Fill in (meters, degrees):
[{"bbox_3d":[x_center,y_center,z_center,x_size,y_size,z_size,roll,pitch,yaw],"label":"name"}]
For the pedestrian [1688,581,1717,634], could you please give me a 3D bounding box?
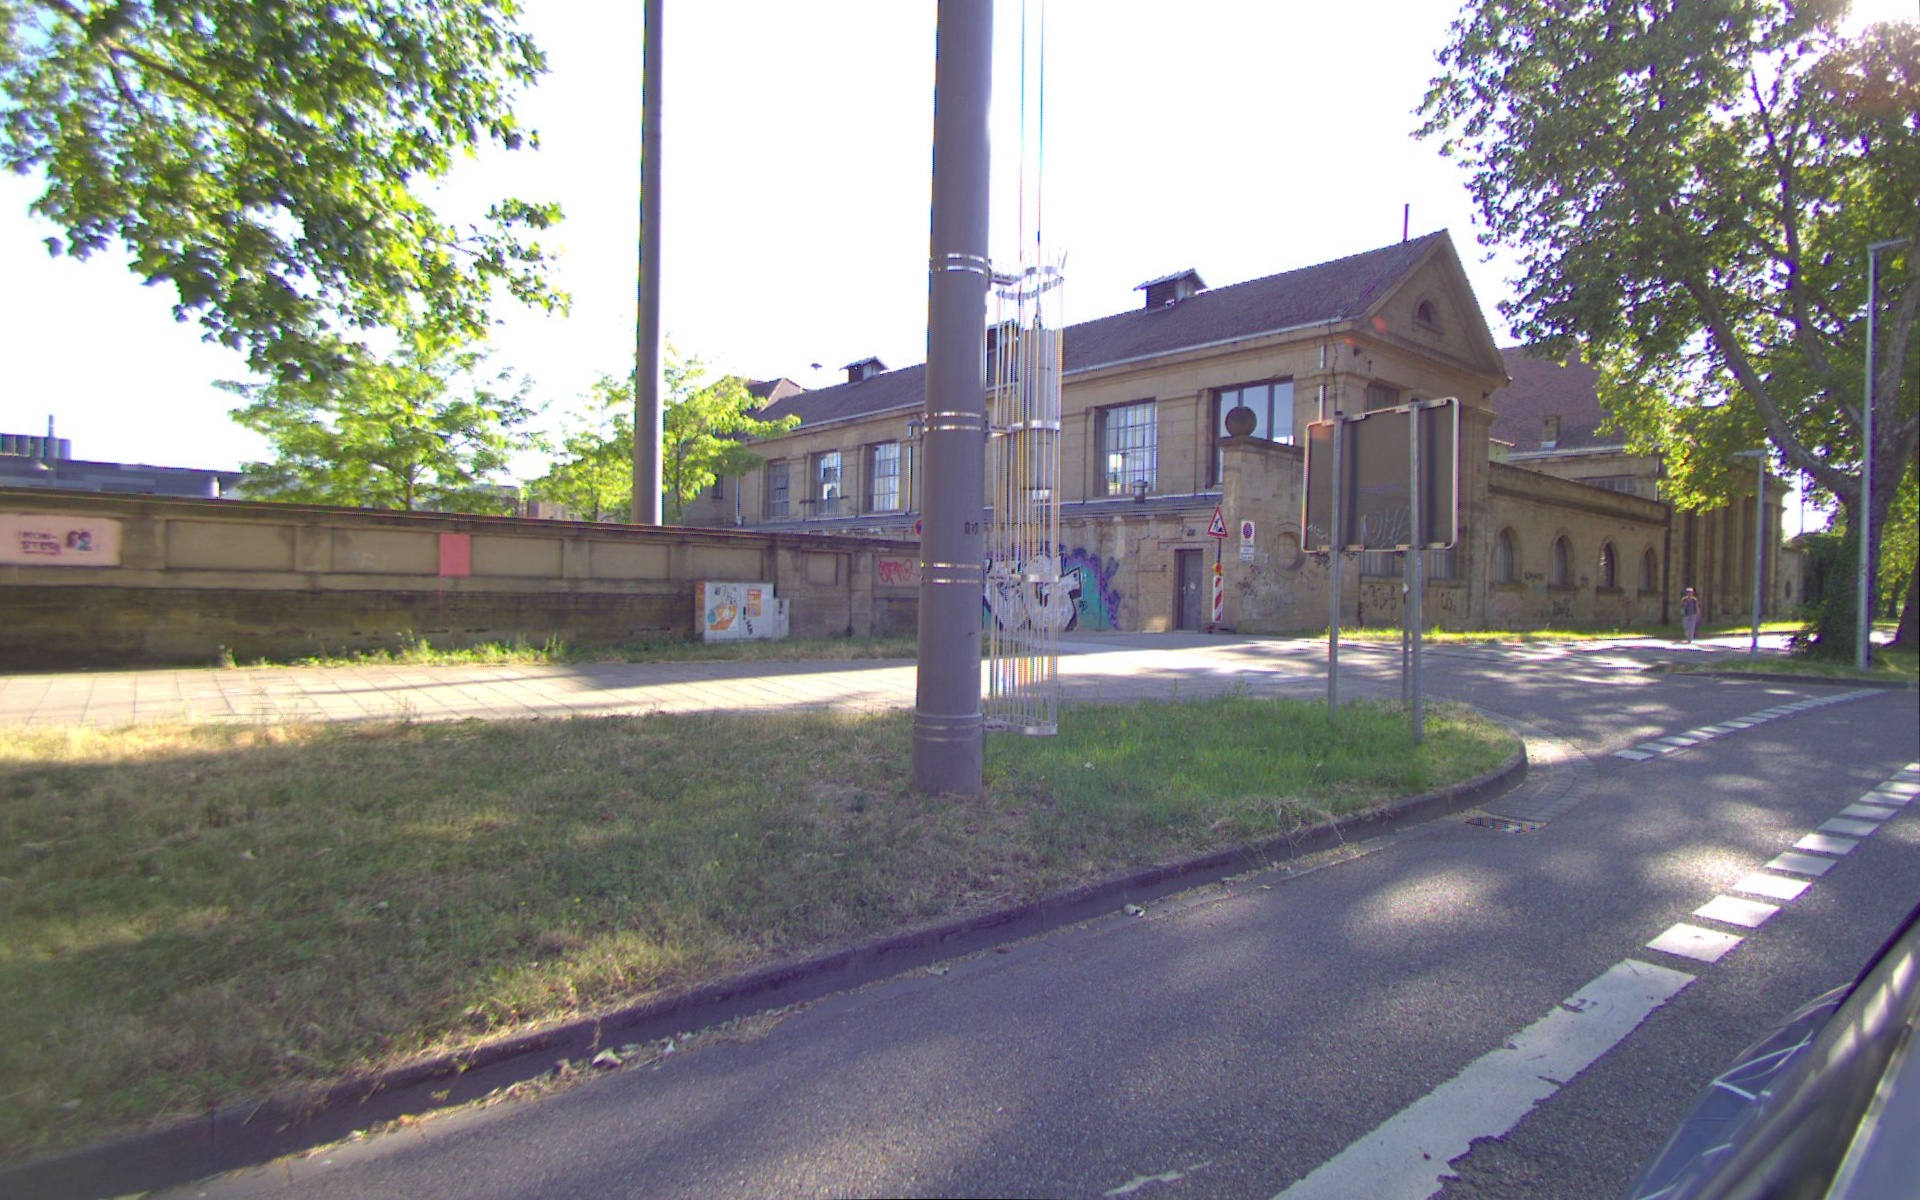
[{"bbox_3d":[24.056,0.227,32.806,0.668,1.683,0.863,3,2,34],"label":"pedestrian"}]
